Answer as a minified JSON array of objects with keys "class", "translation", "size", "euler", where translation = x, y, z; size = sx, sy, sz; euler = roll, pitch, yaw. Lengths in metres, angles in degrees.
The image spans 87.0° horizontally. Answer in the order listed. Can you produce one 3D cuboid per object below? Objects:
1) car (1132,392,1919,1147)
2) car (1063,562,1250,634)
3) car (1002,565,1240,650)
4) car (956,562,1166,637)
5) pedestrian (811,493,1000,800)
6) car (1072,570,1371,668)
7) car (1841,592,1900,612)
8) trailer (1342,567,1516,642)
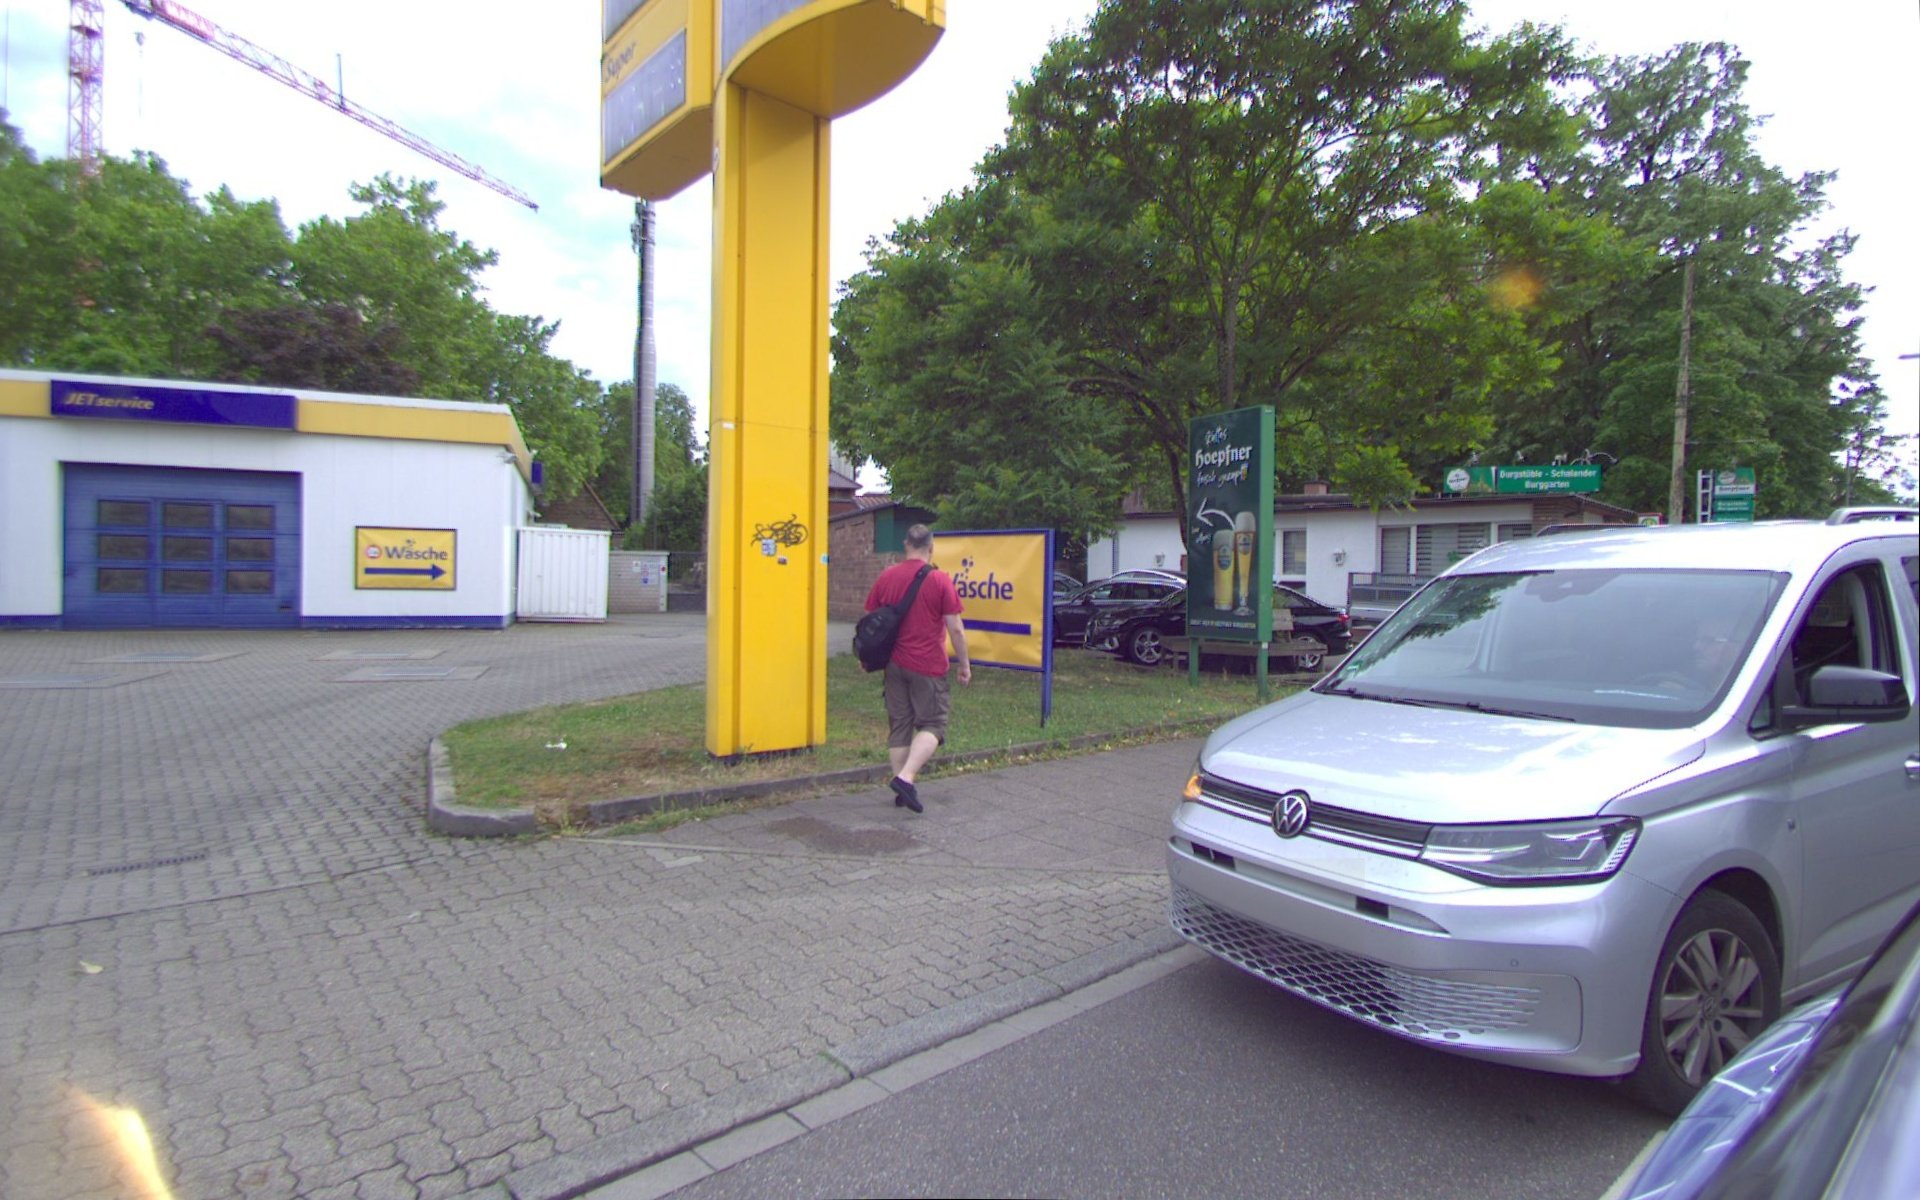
[{"class":"car","translation":[3.272,0.412,4.432],"size":[4.836,1.830,1.854],"euler":[1,1,-29]},{"class":"car","translation":[4.851,-0.096,25.538],"size":[1.955,1.667,4.434],"euler":[0,1,-39]},{"class":"car","translation":[3.186,0.115,20.681],"size":[4.453,1.444,1.880],"euler":[2,3,-2]},{"class":"car","translation":[2.222,-0.024,23.082],"size":[4.401,1.477,1.988],"euler":[2,1,-6]},{"class":"pedestrian","translation":[-0.318,0.242,6.371],"size":[0.960,1.759,0.858],"euler":[2,2,12]},{"class":"car","translation":[4.292,0.284,17.173],"size":[4.497,1.425,1.936],"euler":[2,1,0]},{"class":"car","translation":[92.693,0.192,103.076],"size":[1.961,1.637,4.005],"euler":[1,4,-33]},{"class":"trailer","translation":[10.432,0.042,22.626],"size":[1.594,1.558,3.165],"euler":[-1,2,-43]}]
